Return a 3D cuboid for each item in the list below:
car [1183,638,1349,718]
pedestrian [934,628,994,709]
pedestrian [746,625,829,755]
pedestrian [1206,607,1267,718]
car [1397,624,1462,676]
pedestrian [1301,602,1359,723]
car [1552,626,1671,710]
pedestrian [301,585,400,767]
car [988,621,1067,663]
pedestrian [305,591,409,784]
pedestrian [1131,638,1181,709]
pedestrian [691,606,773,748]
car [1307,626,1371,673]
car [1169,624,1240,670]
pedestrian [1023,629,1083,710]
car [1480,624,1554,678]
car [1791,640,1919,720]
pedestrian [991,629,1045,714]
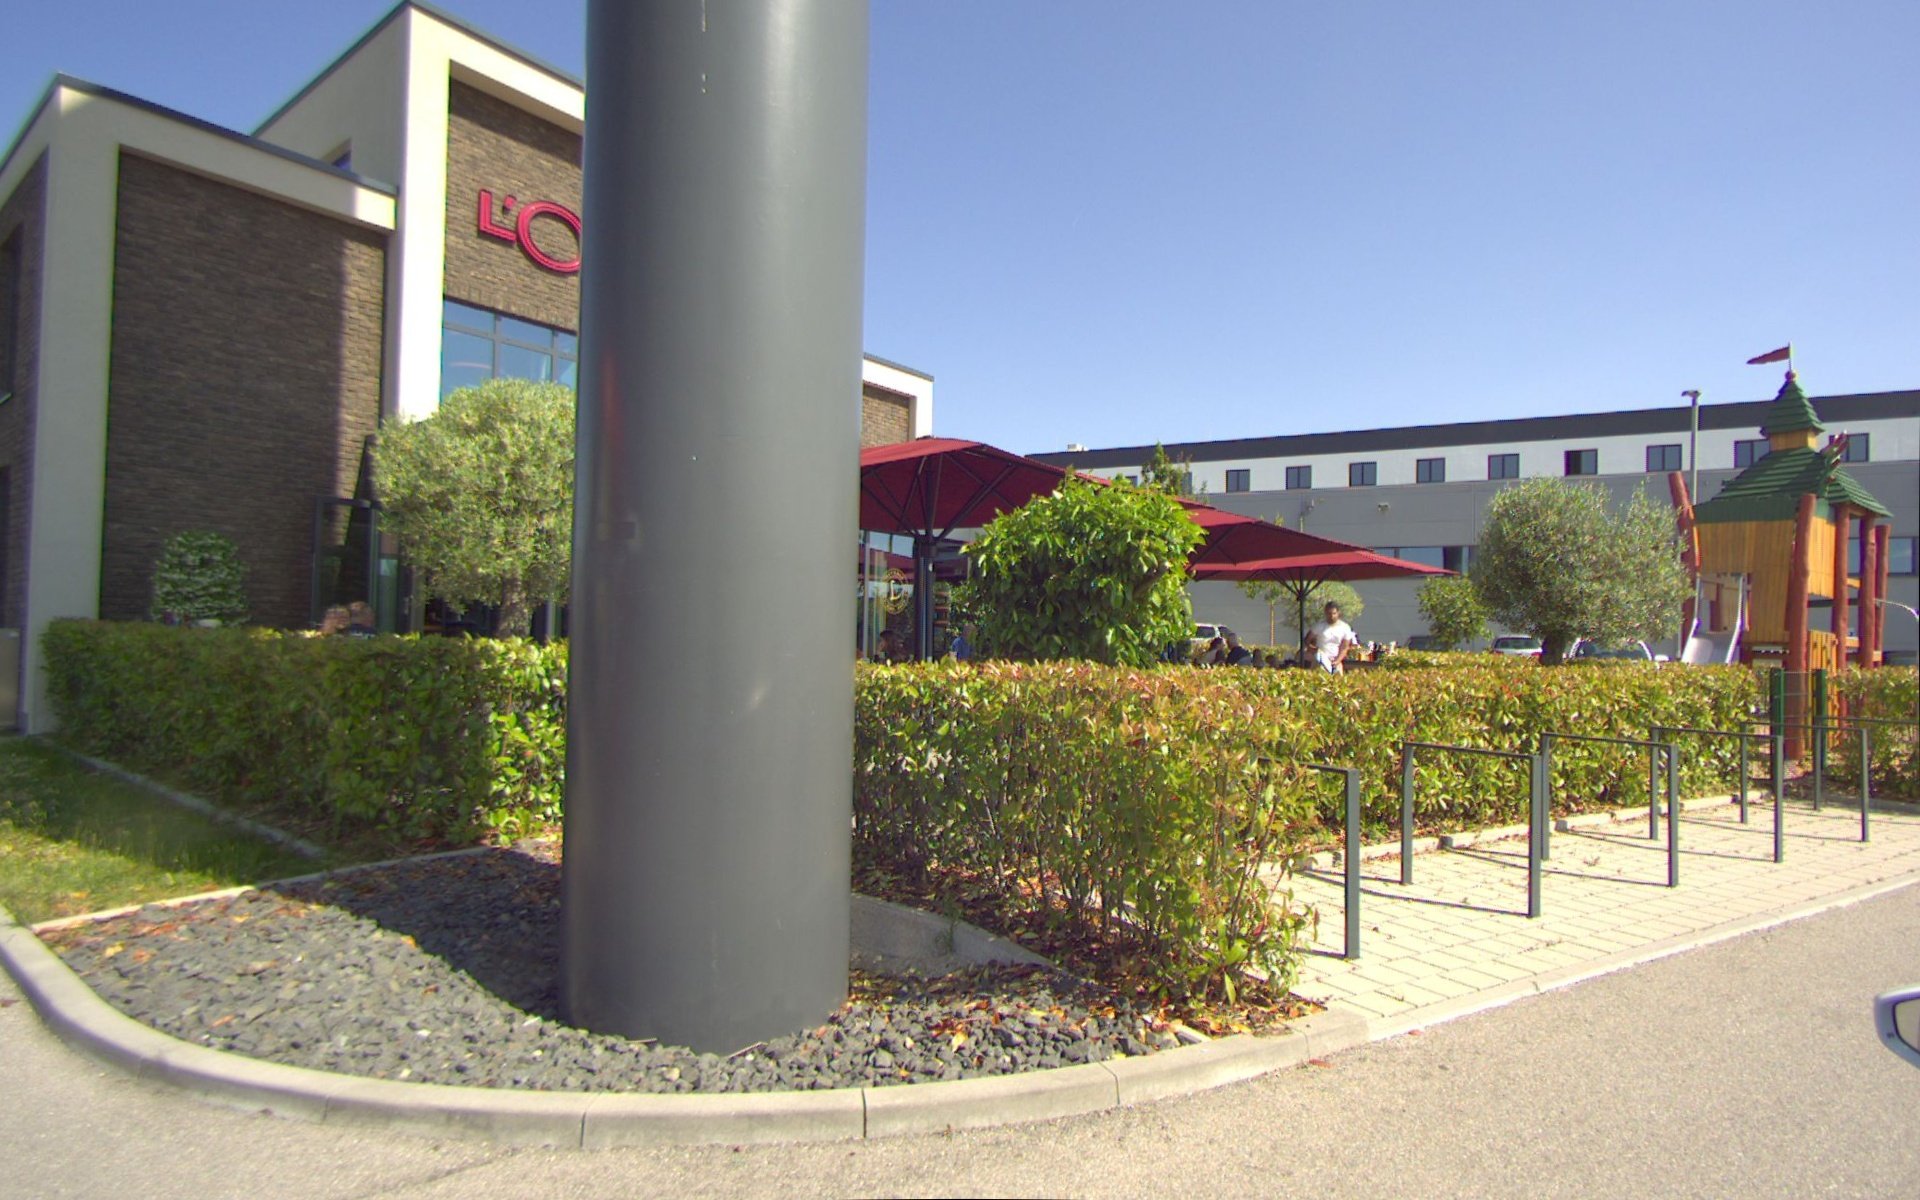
[{"bbox_3d":[5.879,1.412,19.067,1.624,1.326,3.822,-1,-2,41],"label":"car"},{"bbox_3d":[0.067,1.049,15.638,0.697,1.214,0.667,0,-1,31],"label":"pedestrian"},{"bbox_3d":[-1.646,0.845,9.630,0.637,1.200,0.482,0,-1,13],"label":"pedestrian"},{"bbox_3d":[4.214,0.939,15.354,0.770,1.636,0.763,0,-1,6],"label":"pedestrian"},{"bbox_3d":[15.682,1.616,33.475,1.850,1.607,4.104,0,-1,27],"label":"car"},{"bbox_3d":[5.438,0.897,14.755,0.771,1.710,0.762,0,-1,23],"label":"pedestrian"},{"bbox_3d":[13.723,1.352,21.326,1.920,1.551,4.367,0,-2,31],"label":"car"},{"bbox_3d":[-5.342,0.642,8.811,0.517,1.525,0.567,0,-1,36],"label":"pedestrian"},{"bbox_3d":[2.752,1.659,40.287,1.616,1.587,3.675,0,-1,32],"label":"car"},{"bbox_3d":[-4.991,0.699,8.320,0.517,1.525,0.567,0,-1,36],"label":"pedestrian"},{"bbox_3d":[3.129,1.160,16.030,0.539,1.104,0.572,1,-1,-36],"label":"pedestrian"},{"bbox_3d":[-2.287,0.756,10.106,0.637,1.385,0.482,0,-1,13],"label":"pedestrian"},{"bbox_3d":[13.276,1.674,35.059,1.705,1.506,3.947,0,-1,27],"label":"car"},{"bbox_3d":[9.050,1.704,37.011,1.705,1.587,3.947,0,-1,27],"label":"car"},{"bbox_3d":[1.434,1.057,15.514,0.612,1.214,0.701,1,-1,-44],"label":"pedestrian"},{"bbox_3d":[18.019,1.607,32.667,1.917,1.607,4.372,0,-1,27],"label":"car"},{"bbox_3d":[18.289,1.511,19.914,1.834,1.380,4.372,0,-1,27],"label":"car"},{"bbox_3d":[0.854,1.049,14.919,0.606,1.214,0.708,1,-1,-16],"label":"pedestrian"}]
